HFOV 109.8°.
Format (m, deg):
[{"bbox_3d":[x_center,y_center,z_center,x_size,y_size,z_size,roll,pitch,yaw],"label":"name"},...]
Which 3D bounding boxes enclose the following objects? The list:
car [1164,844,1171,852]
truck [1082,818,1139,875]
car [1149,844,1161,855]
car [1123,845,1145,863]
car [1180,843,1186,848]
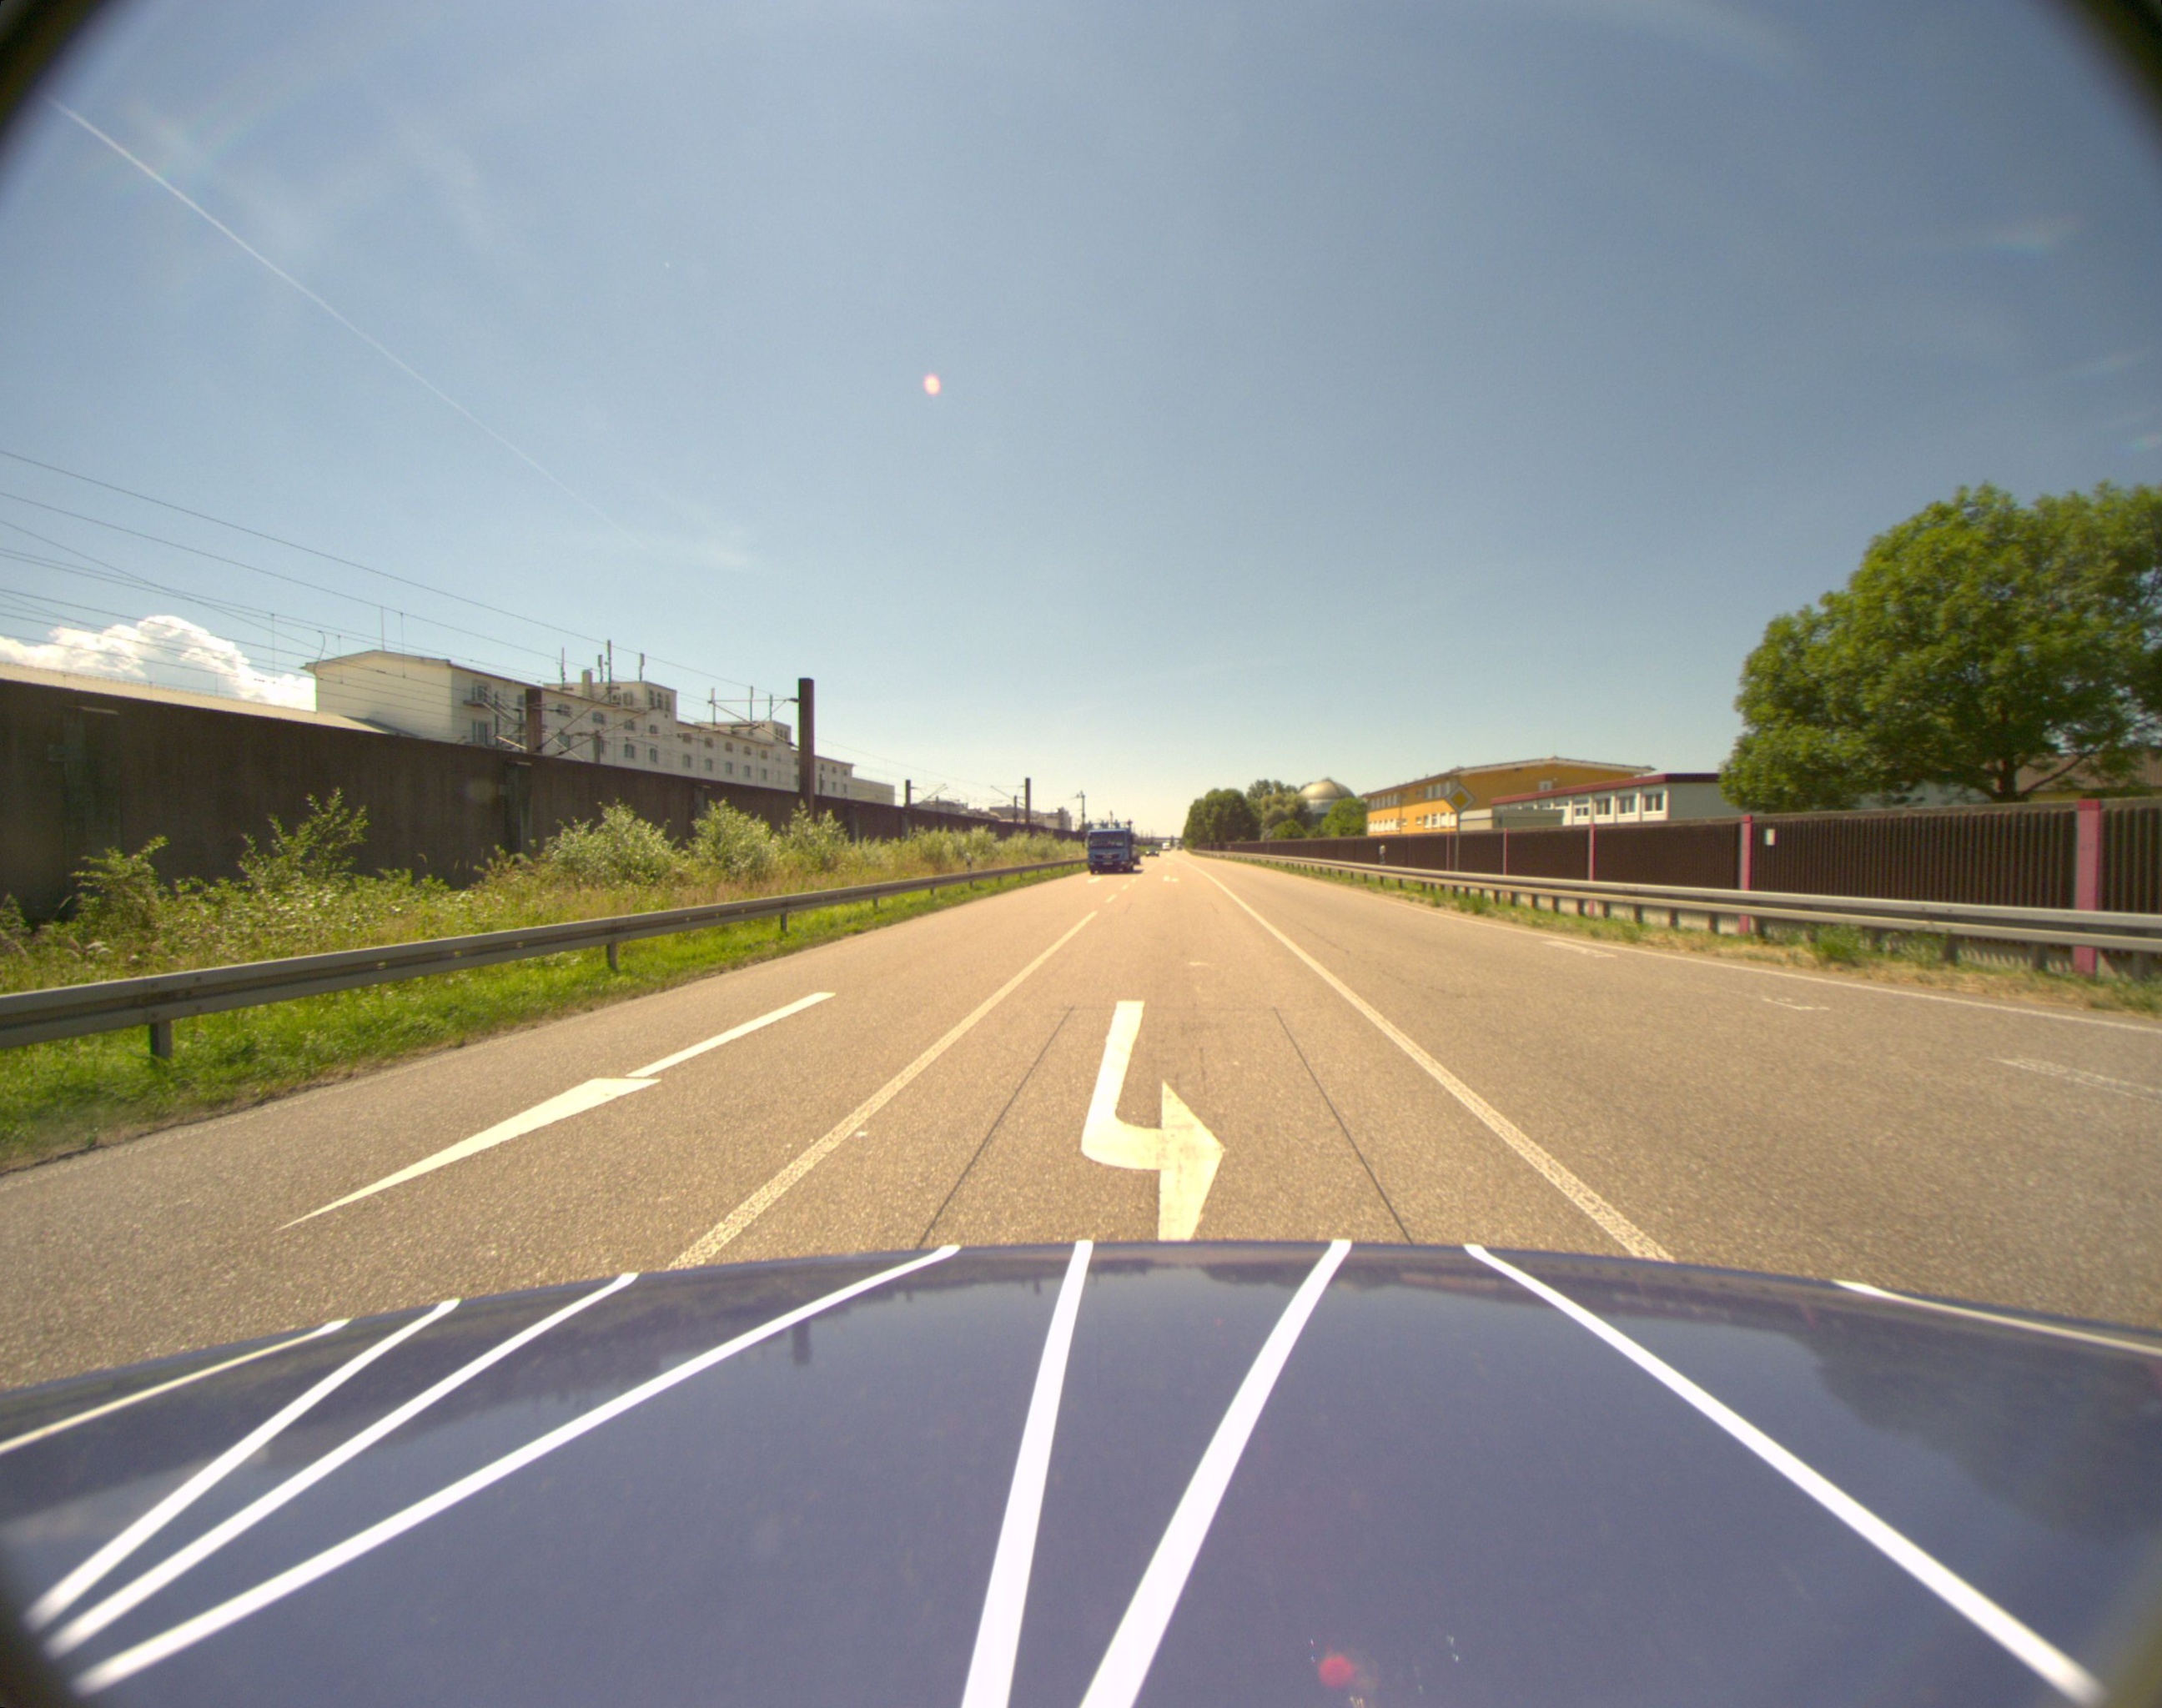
[{"bbox_3d":[26.355,-1.848,231.328,2.203,2.545,5.225,-1,1,7],"label":"car"},{"bbox_3d":[1.996,-0.504,46.214,2.615,3.024,10.659,-1,1,7],"label":"truck"},{"bbox_3d":[10.845,-0.697,111.436,1.729,1.465,3.891,-1,1,7],"label":"car"},{"bbox_3d":[4.488,-0.036,63.973,1.729,1.465,4.177,-1,1,5],"label":"car"},{"bbox_3d":[33.196,-2.712,247.906,1.891,1.730,4.778,-1,1,6],"label":"car"}]
